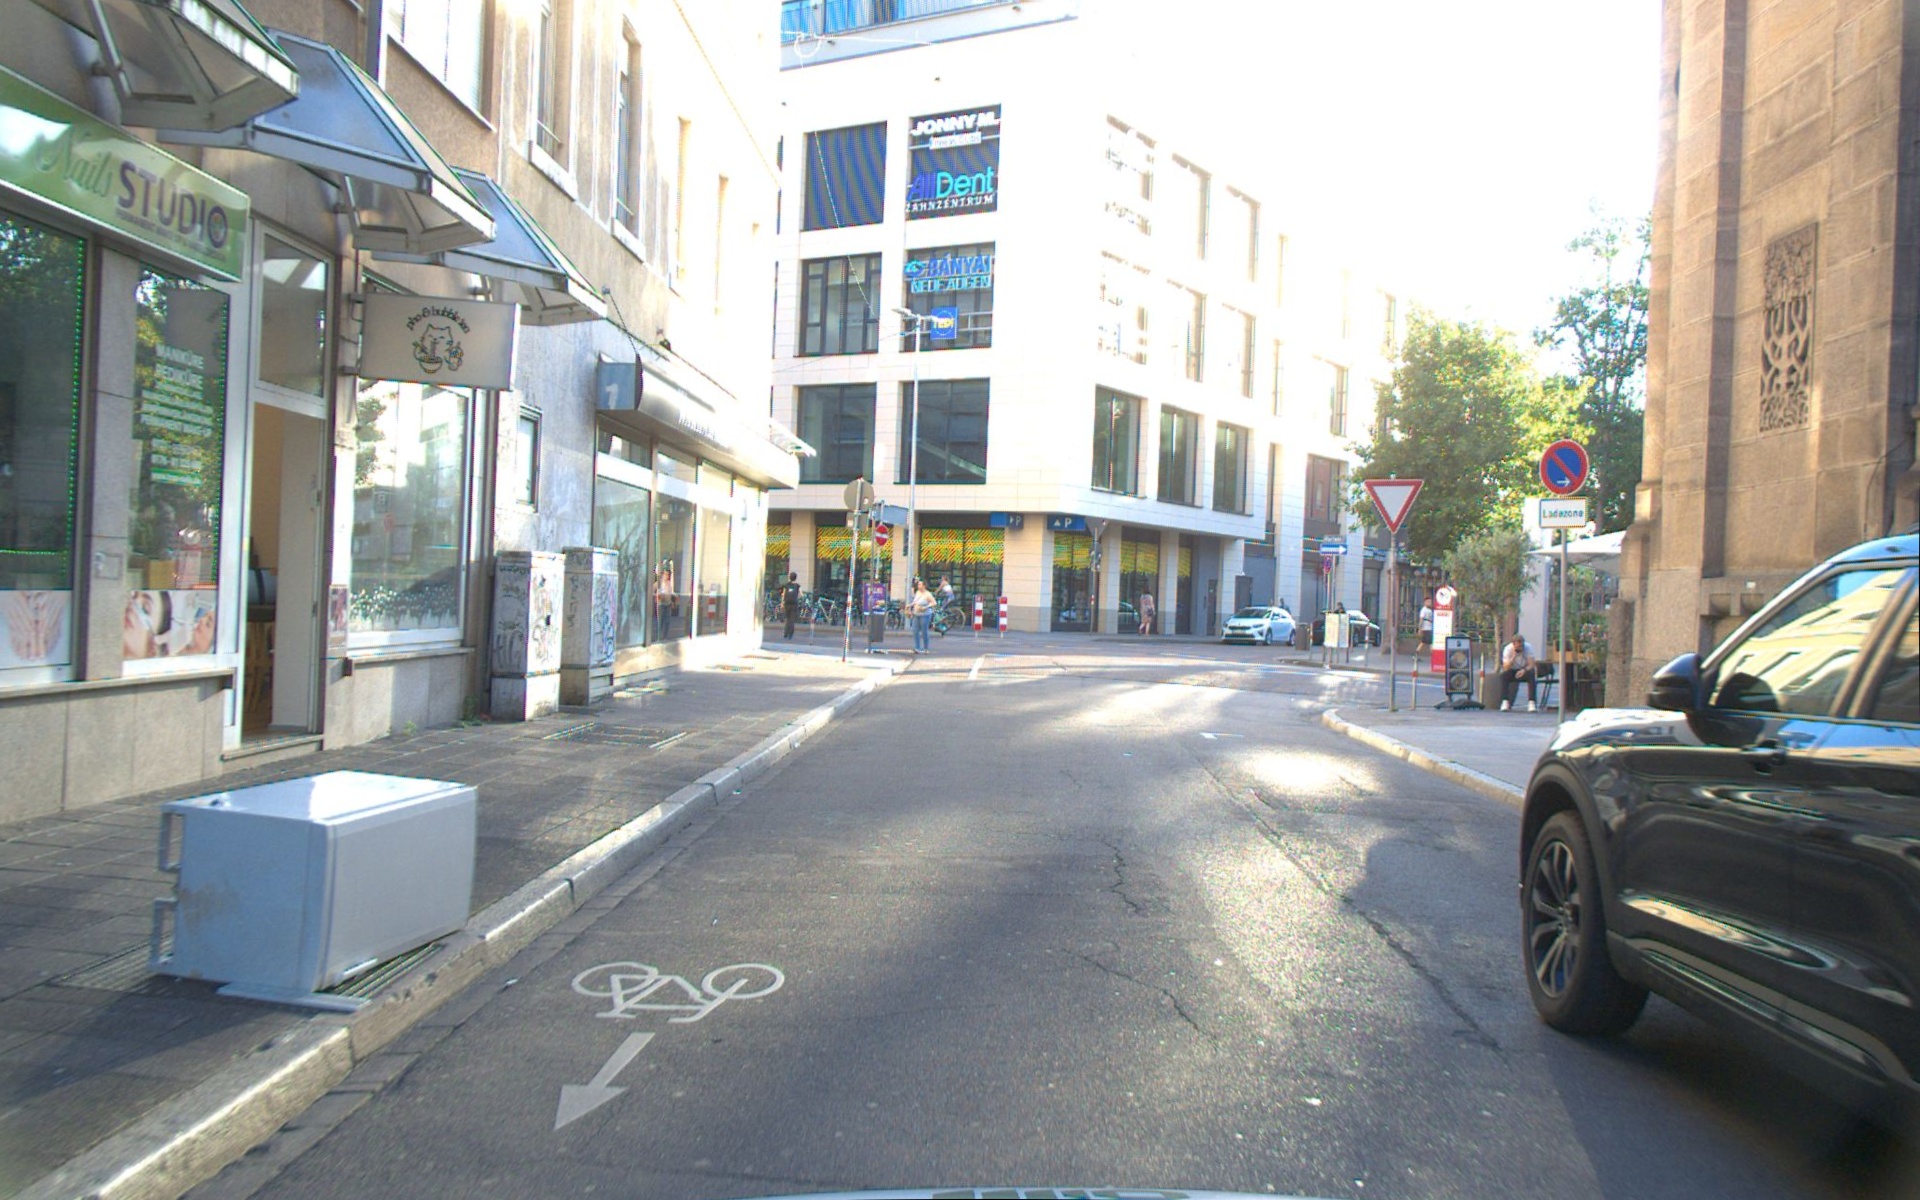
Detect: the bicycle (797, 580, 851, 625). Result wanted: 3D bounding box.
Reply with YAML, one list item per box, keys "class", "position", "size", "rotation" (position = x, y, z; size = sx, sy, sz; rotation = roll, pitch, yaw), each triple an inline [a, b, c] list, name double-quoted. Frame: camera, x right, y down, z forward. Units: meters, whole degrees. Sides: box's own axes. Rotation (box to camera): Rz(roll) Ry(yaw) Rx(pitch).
- class: "bicycle"
  position: [-4.102, 0.078, 50.052]
  size: [0.502, 1.276, 1.974]
  rotation: [3, 0, 31]

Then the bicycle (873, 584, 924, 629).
- class: "bicycle"
  position: [-1.798, 0.202, 48.537]
  size: [0.502, 1.276, 1.976]
  rotation: [3, 0, 28]

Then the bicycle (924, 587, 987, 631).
- class: "bicycle"
  position: [-0.145, 0.281, 52.685]
  size: [1.937, 1.276, 0.611]
  rotation: [3, 0, 32]

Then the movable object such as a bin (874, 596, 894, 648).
- class: "movable object such as a bin"
  position: [-1.620, 0.467, 35.104]
  size: [0.352, 1.082, 0.355]
  rotation: [2, 0, -9]

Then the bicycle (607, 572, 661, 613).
- class: "bicycle"
  position: [-10.680, -0.230, 54.303]
  size: [0.502, 1.276, 1.974]
  rotation: [3, 0, 31]

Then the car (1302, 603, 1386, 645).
- class: "car"
  position: [16.199, 1.008, 69.613]
  size: [1.851, 1.626, 4.673]
  rotation: [2, 0, 34]

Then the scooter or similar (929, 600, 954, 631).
- class: "scooter or similar"
  position: [-0.559, 0.458, 49.525]
  size: [0.379, 0.899, 0.768]
  rotation: [3, 0, 31]

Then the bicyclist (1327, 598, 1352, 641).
- class: "bicyclist"
  position: [14.575, 0.761, 63.578]
  size: [0.646, 1.598, 0.861]
  rotation: [3, 0, 30]

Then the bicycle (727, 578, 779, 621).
- class: "bicycle"
  position: [-6.454, -0.014, 51.627]
  size: [0.502, 1.276, 1.975]
  rotation: [3, 0, 29]

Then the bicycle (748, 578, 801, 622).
- class: "bicycle"
  position: [-5.728, 0.016, 51.245]
  size: [0.502, 1.276, 1.974]
  rotation: [3, 0, 31]

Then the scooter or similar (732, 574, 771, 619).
- class: "scooter or similar"
  position: [-6.130, -0.095, 48.586]
  size: [0.379, 1.282, 1.268]
  rotation: [3, 0, 31]

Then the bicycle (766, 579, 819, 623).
- class: "bicycle"
  position: [-5.138, 0.046, 50.775]
  size: [0.502, 1.276, 1.974]
  rotation: [3, 0, 31]

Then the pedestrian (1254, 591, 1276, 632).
- class: "pedestrian"
  position: [12.848, 0.492, 69.604]
  size: [0.659, 1.704, 0.646]
  rotation: [2, 0, 30]

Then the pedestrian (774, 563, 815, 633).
- class: "pedestrian"
  position: [-4.094, -0.046, 40.923]
  size: [0.855, 1.687, 0.616]
  rotation: [3, 0, -15]

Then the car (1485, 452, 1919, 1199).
- class: "car"
  position: [3.114, 0.611, 4.202]
  size: [1.953, 1.814, 4.935]
  rotation: [2, 1, 0]

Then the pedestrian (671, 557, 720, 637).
- class: "pedestrian"
  position: [-5.597, -0.070, 34.970]
  size: [0.717, 1.641, 0.805]
  rotation: [2, 0, 12]

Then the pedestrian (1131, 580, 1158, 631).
- class: "pedestrian"
  position: [6.573, 0.187, 58.935]
  size: [0.660, 1.775, 0.645]
  rotation: [2, 0, 33]

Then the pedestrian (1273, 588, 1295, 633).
- class: "pedestrian"
  position: [13.547, 0.437, 69.124]
  size: [0.659, 1.868, 0.646]
  rotation: [2, 0, 30]

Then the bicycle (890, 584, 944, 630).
- class: "bicycle"
  position: [-1.235, 0.217, 48.260]
  size: [0.570, 1.276, 2.041]
  rotation: [3, 0, 28]

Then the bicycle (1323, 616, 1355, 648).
- class: "bicycle"
  position: [14.579, 1.243, 63.638]
  size: [0.651, 1.158, 1.818]
  rotation: [3, 0, 30]

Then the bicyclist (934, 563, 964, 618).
- class: "bicyclist"
  position: [-0.358, -0.300, 52.762]
  size: [0.631, 1.725, 0.682]
  rotation: [2, 0, 33]

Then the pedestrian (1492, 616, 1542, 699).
- class: "pedestrian"
  position: [8.571, 0.871, 25.462]
  size: [0.593, 1.209, 0.822]
  rotation: [3, 0, 12]

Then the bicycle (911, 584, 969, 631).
- class: "bicycle"
  position: [-0.564, 0.225, 47.918]
  size: [0.651, 1.276, 2.137]
  rotation: [3, 0, 28]

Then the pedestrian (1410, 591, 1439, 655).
- class: "pedestrian"
  position: [12.803, 0.623, 45.583]
  size: [0.688, 1.699, 0.642]
  rotation: [2, 1, 19]

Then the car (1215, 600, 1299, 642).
- class: "car"
  position: [11.170, 0.813, 62.022]
  size: [1.745, 1.478, 4.221]
  rotation: [-2, -2, 31]

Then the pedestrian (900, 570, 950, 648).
- class: "pedestrian"
  position: [-0.771, 0.199, 35.886]
  size: [0.793, 1.641, 0.728]
  rotation: [2, 0, -28]

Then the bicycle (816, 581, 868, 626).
- class: "bicycle"
  position: [-3.543, 0.113, 49.750]
  size: [0.502, 1.276, 1.975]
  rotation: [3, 0, 30]

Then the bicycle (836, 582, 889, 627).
- class: "bicycle"
  position: [-2.907, 0.152, 49.314]
  size: [0.502, 1.276, 1.974]
  rotation: [3, 0, 31]

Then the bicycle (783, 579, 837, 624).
- class: "bicycle"
  position: [-4.559, 0.060, 50.377]
  size: [0.502, 1.276, 1.974]
  rotation: [3, 0, 31]

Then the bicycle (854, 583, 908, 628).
- class: "bicycle"
  position: [-2.326, 0.173, 48.843]
  size: [0.503, 1.276, 1.973]
  rotation: [3, 0, 33]

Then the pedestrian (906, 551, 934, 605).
- class: "pedestrian"
  position: [-1.345, -0.747, 55.256]
  size: [0.627, 1.753, 0.839]
  rotation: [2, 0, -23]
